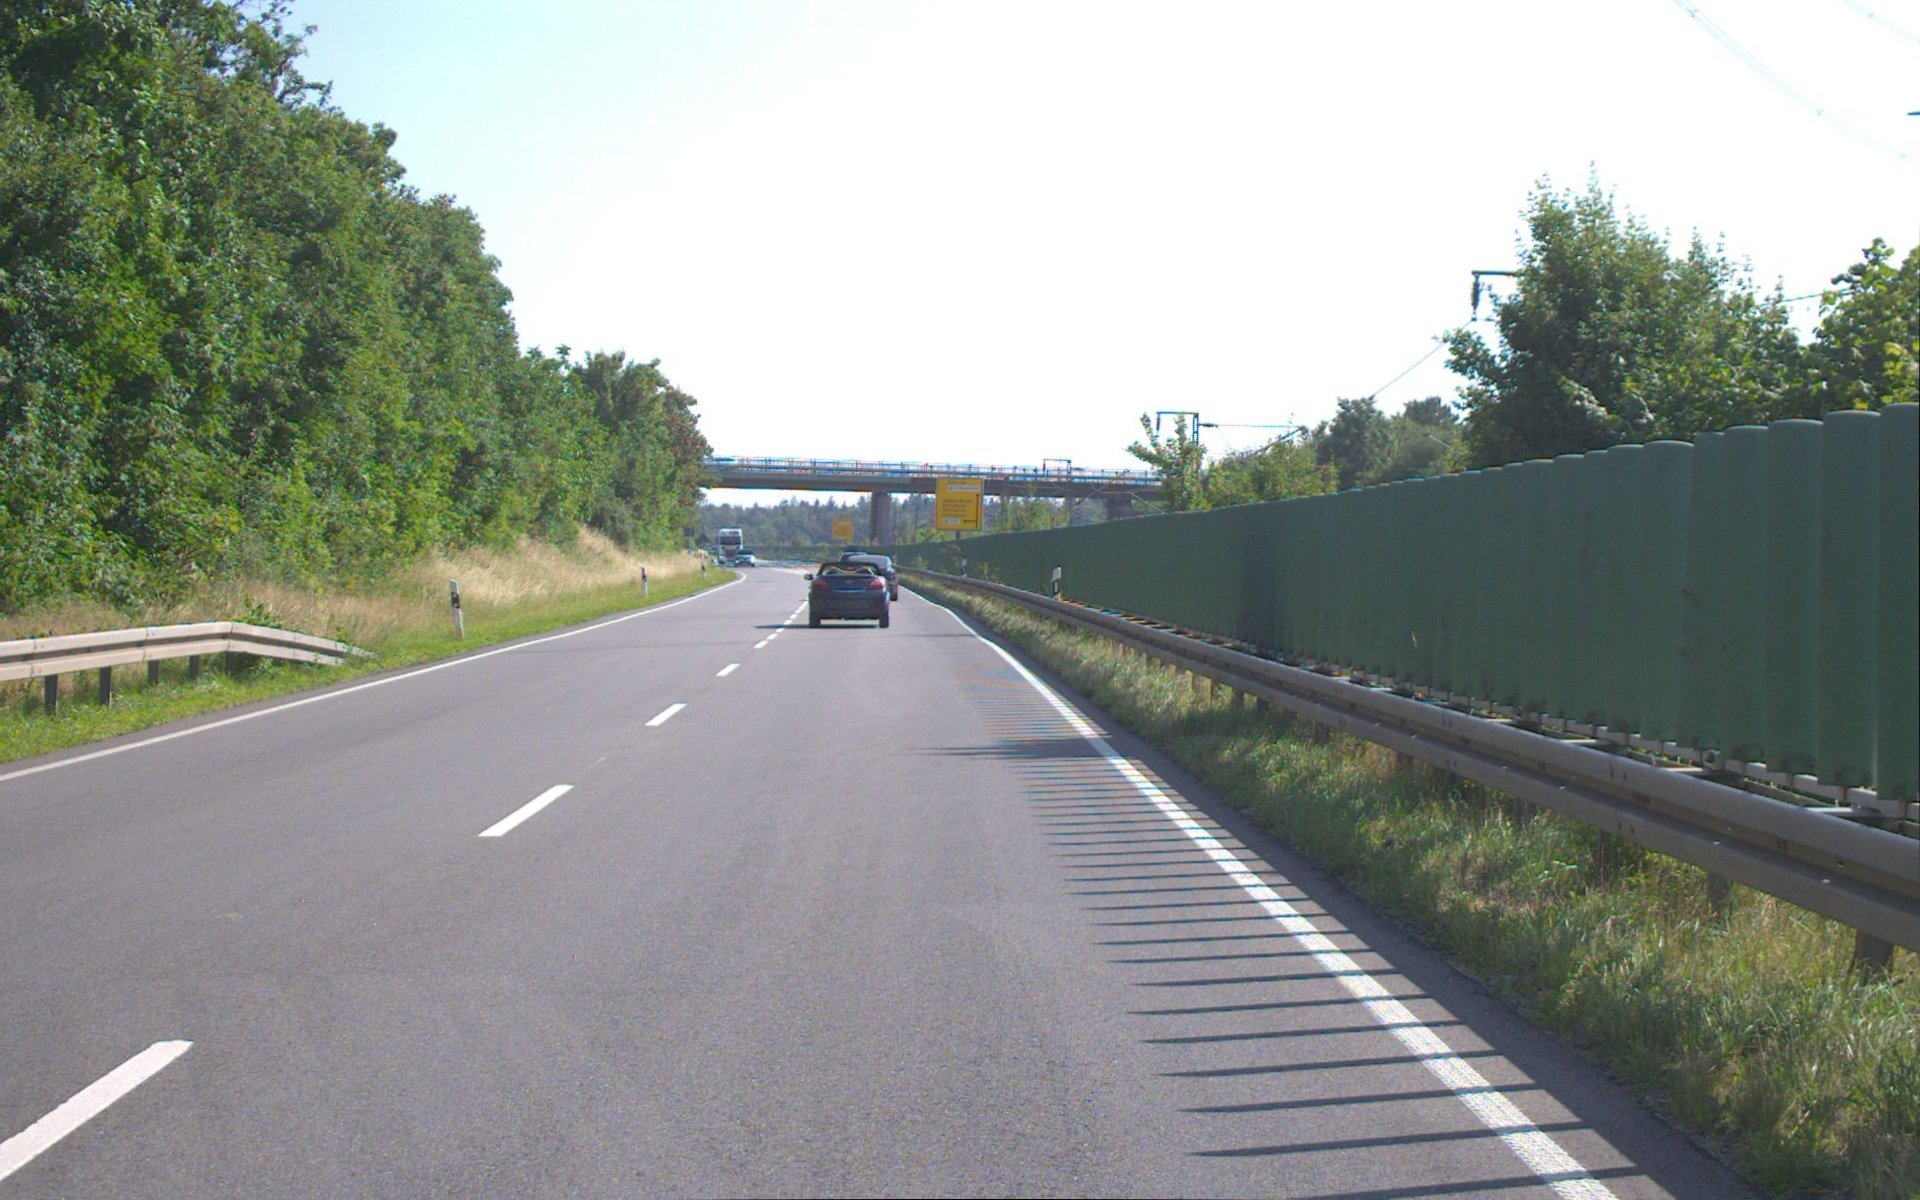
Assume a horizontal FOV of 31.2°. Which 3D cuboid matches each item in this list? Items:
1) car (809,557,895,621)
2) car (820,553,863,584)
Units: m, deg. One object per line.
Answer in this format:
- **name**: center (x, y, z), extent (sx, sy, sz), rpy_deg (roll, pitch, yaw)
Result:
- **car**: center (-2.252, -0.234, 70.976), extent (1.663, 1.257, 4.001), rpy_deg (1, 0, -3)
- **car**: center (-5.578, -1.490, 161.301), extent (1.894, 1.413, 4.001), rpy_deg (1, 0, -3)
